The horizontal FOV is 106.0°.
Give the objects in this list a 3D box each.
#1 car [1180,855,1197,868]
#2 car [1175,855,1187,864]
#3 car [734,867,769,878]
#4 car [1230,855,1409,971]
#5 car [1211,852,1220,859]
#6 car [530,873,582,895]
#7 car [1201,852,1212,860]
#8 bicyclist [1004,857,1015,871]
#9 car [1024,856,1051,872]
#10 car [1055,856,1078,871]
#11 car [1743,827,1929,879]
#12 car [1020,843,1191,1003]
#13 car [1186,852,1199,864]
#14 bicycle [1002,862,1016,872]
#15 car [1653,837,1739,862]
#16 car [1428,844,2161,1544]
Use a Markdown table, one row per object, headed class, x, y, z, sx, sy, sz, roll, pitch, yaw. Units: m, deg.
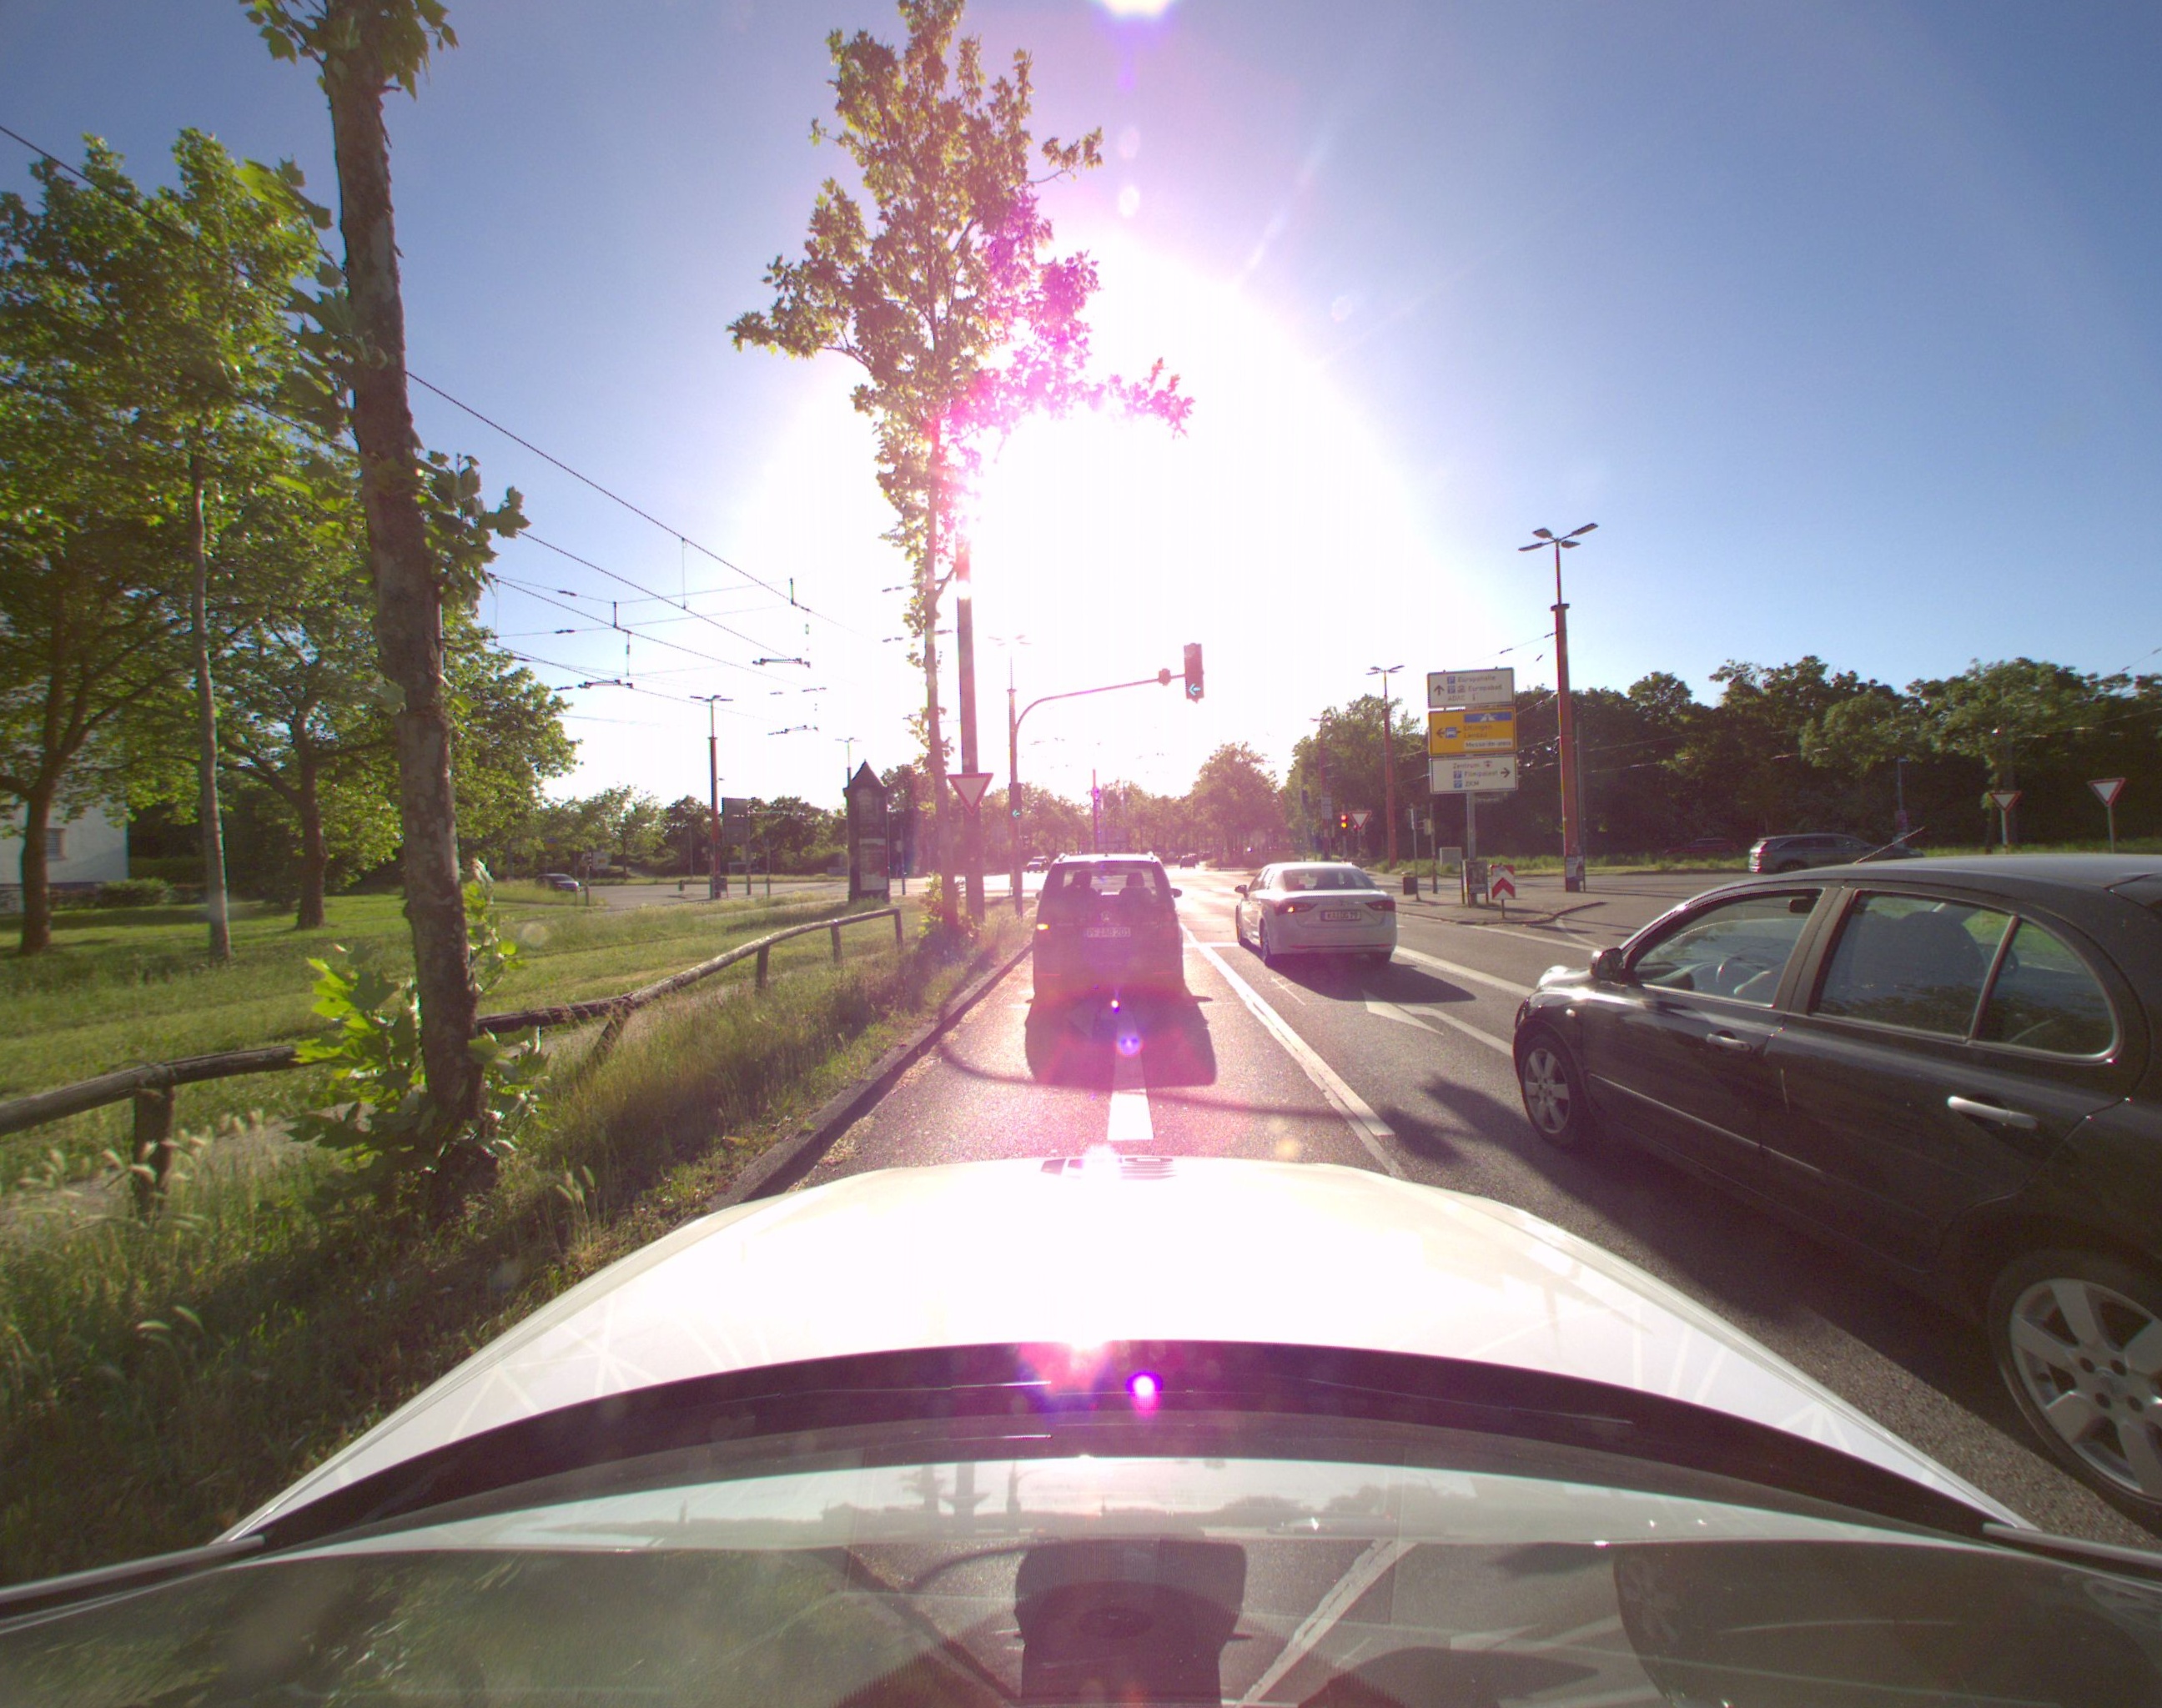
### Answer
| class | x | y | z | sx | sy | sz | roll | pitch | yaw |
| --- | --- | --- | --- | --- | --- | --- | --- | --- | --- |
| car | 12.237 | 0.830 | 92.524 | 1.779 | 1.388 | 4.061 | -1 | 0 | 10 |
| car | 16.574 | 0.870 | 135.517 | 1.779 | 1.388 | 4.060 | -1 | 0 | 9 |
| car | -41.479 | 2.390 | 102.608 | 3.950 | 1.266 | 1.955 | -2 | -1 | 26 |
| car | 3.537 | 0.784 | 12.891 | 1.760 | 1.464 | 4.370 | -2 | 0 | 3 |
| car | 28.039 | 0.319 | 169.683 | 1.778 | 1.388 | 4.062 | -1 | 0 | 11 |
| car | -46.344 | 2.670 | 71.859 | 4.390 | 1.775 | 1.917 | -2 | 1 | 29 |
| car | 22.972 | 0.369 | 148.852 | 1.777 | 1.502 | 4.063 | -1 | 0 | 12 |
| bicyclist | -8.275 | 1.163 | 94.265 | 0.753 | 1.557 | 0.986 | -2 | 0 | 19 |
| car | -4.979 | 1.175 | 93.570 | 1.889 | 1.726 | 4.669 | -2 | 0 | 12 |
| car | -1.612 | 1.068 | 91.166 | 1.756 | 1.538 | 4.104 | -2 | 0 | 11 |
| car | 27.390 | 0.004 | 29.810 | 4.633 | 1.704 | 2.013 | -2 | -1 | 30 |
| car | 0.359 | 0.727 | 11.053 | 1.761 | 1.644 | 4.926 | -2 | 0 | 2 |
| car | 15.782 | 0.553 | 115.337 | 1.862 | 1.627 | 4.008 | 0 | -1 | 7 |
| bicycle | -8.286 | 1.508 | 94.187 | 0.757 | 1.091 | 2.025 | -2 | 0 | 19 |
| car | 40.394 | -0.311 | 53.616 | 4.234 | 1.495 | 2.013 | -2 | 0 | 29 |
| car | 3.248 | 0.727 | 3.417 | 1.728 | 1.482 | 4.624 | -2 | 0 | 2 |
